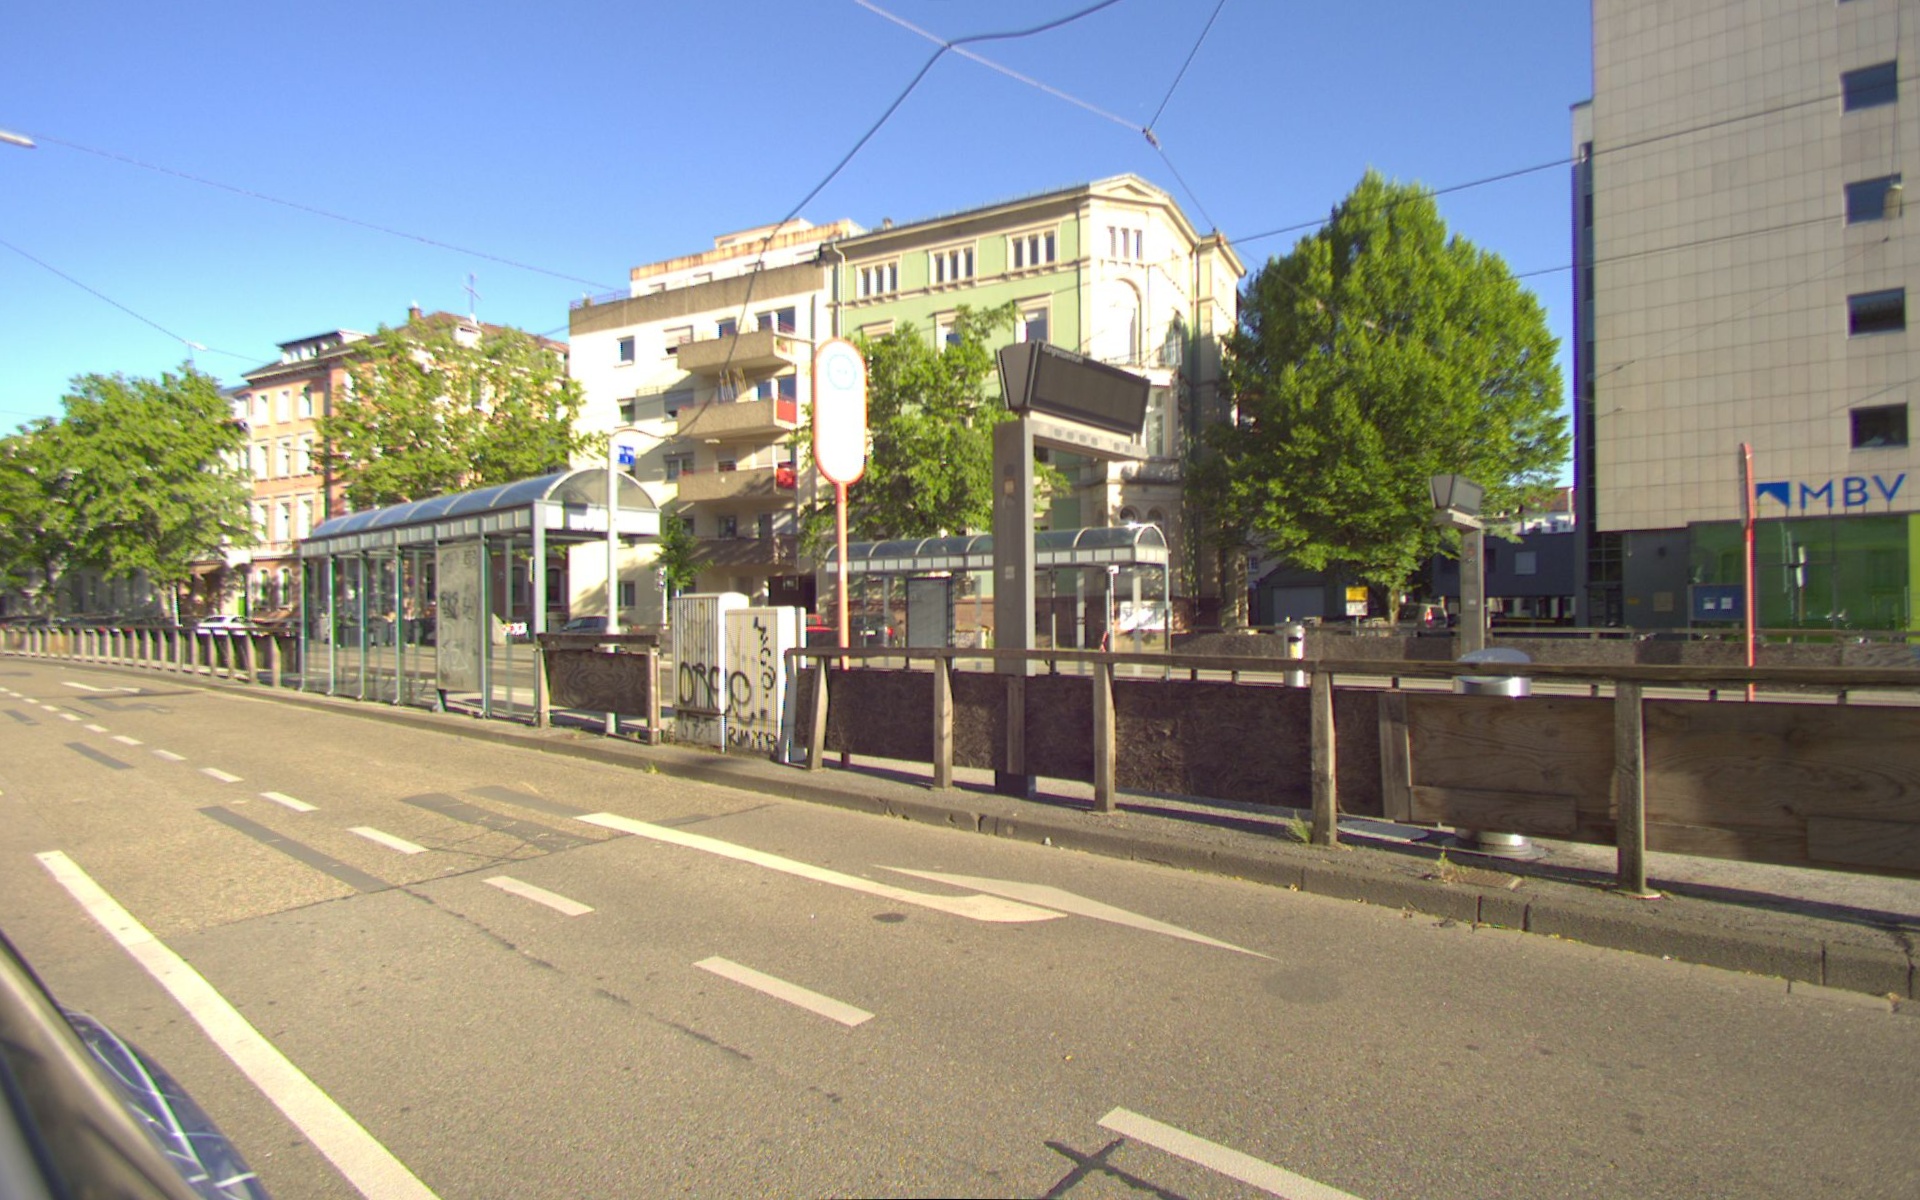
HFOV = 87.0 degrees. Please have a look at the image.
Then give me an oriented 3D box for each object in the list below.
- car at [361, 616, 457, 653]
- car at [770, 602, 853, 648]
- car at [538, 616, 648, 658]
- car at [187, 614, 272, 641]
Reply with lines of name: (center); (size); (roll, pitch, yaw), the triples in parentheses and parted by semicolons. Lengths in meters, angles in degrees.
car: (-23.805, 1.479, 43.694); (3.987, 1.541, 1.978); (-1, -2, 32)
car: (-6.713, 1.134, 46.143); (1.791, 2.029, 3.963); (-1, -1, 27)
car: (-14.077, 1.395, 38.772); (3.987, 1.541, 1.978); (-1, -2, 32)
car: (-39.119, 1.451, 54.268); (1.565, 1.360, 3.631); (0, -1, 11)
